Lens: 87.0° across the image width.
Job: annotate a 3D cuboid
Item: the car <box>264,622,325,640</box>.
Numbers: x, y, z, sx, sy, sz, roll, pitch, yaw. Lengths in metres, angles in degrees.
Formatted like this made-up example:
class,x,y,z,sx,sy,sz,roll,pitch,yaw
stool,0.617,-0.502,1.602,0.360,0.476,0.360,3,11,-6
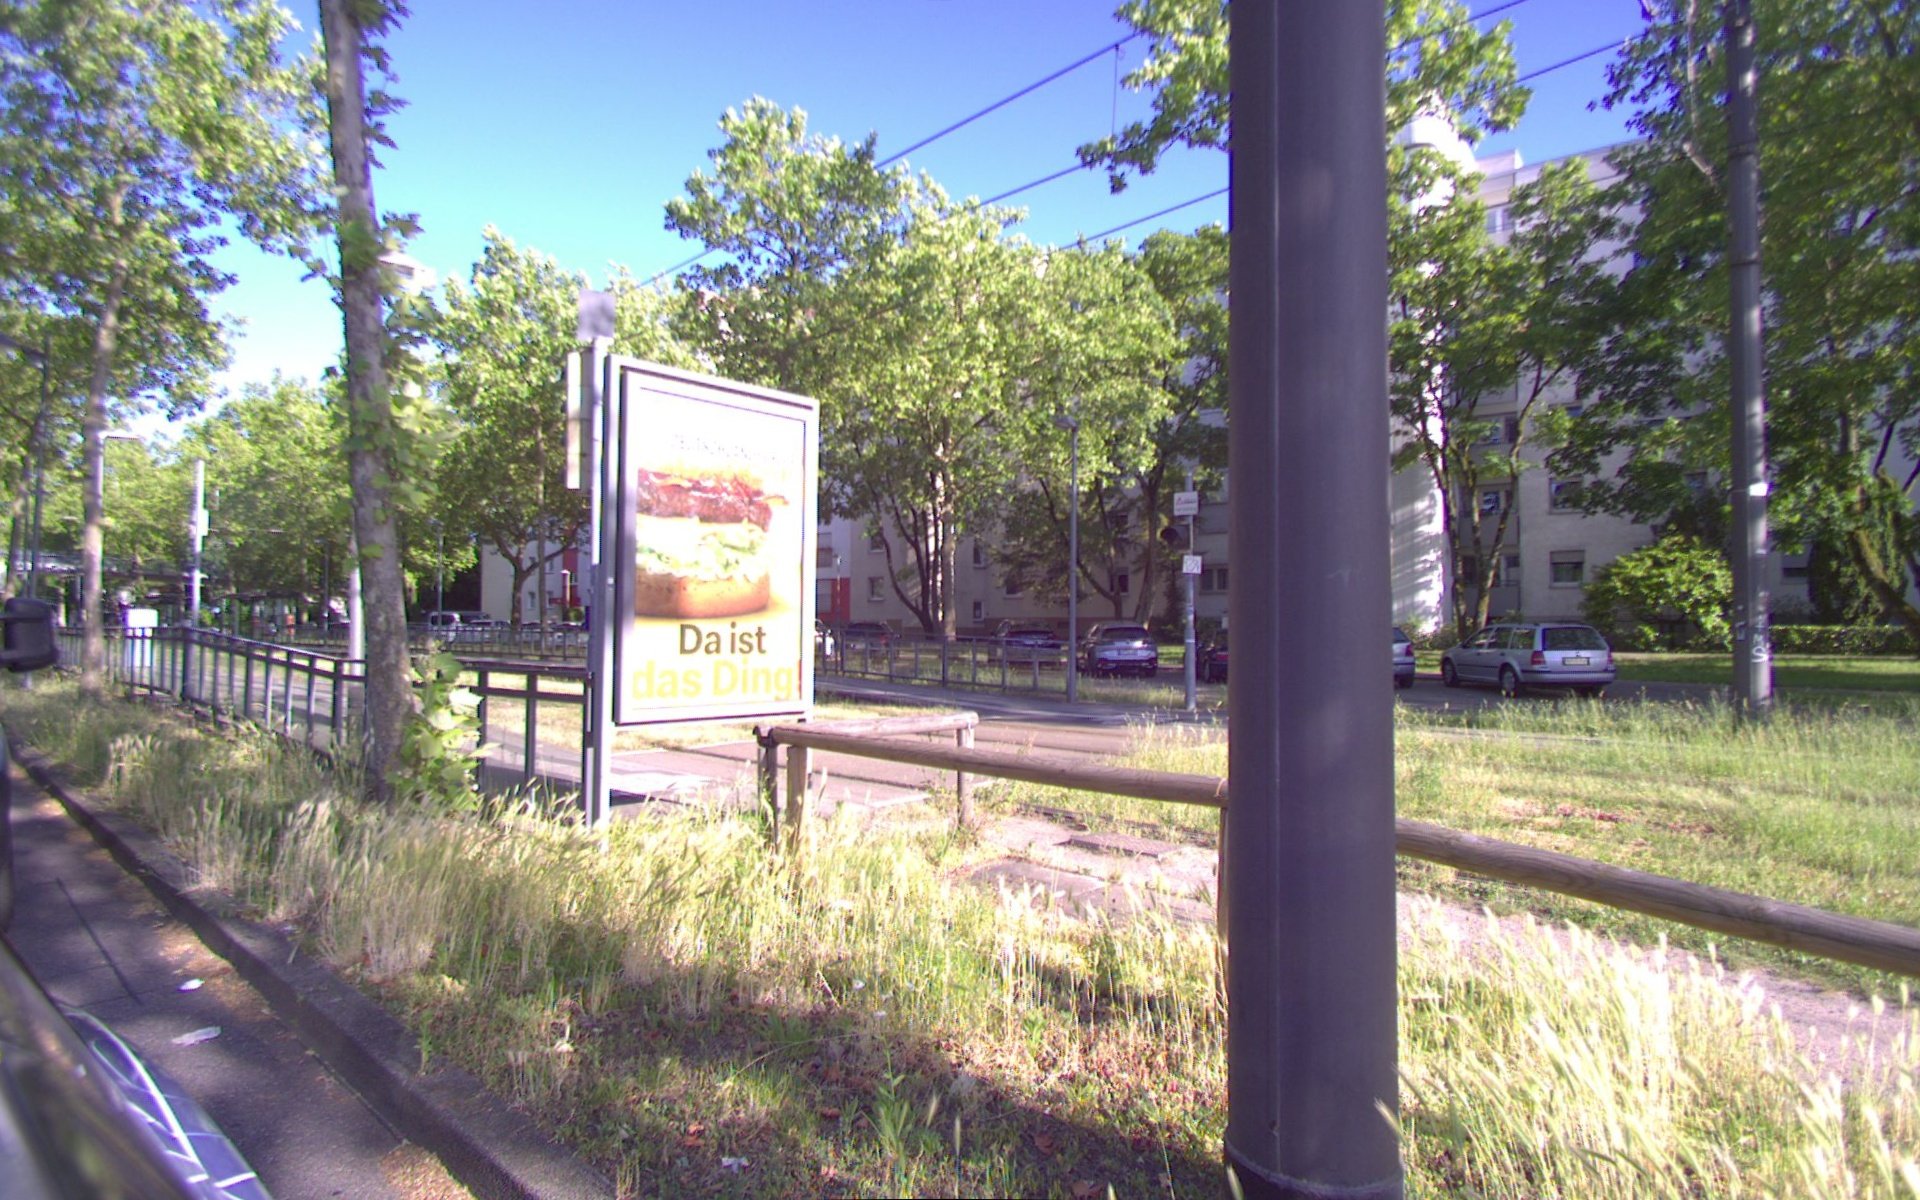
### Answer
class,x,y,z,sx,sy,sz,roll,pitch,yaw
car,-52.135,2.404,79.350,1.898,1.386,4.365,0,-1,1

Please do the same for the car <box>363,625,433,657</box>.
class,x,y,z,sx,sy,sz,roll,pitch,yaw
car,-26.473,1.893,47.630,3.757,1.431,1.801,-1,-2,42

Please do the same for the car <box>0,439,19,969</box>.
class,x,y,z,sx,sy,sz,roll,pitch,yaw
car,-6.401,0.450,5.034,5.111,2.131,2.014,-1,-1,41

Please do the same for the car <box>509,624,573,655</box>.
class,x,y,z,sx,sy,sz,roll,pitch,yaw
car,-21.113,1.958,51.120,1.627,1.460,3.680,0,-1,1

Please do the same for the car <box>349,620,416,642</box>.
class,x,y,z,sx,sy,sz,roll,pitch,yaw
car,-37.899,2.036,66.531,1.898,1.386,4.365,0,-1,1

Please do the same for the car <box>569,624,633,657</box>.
class,x,y,z,sx,sy,sz,roll,pitch,yaw
car,-16.671,1.841,47.122,1.627,1.460,3.680,0,-1,1

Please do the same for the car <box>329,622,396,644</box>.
class,x,y,z,sx,sy,sz,roll,pitch,yaw
car,-40.272,2.204,68.377,1.898,1.386,4.365,0,-1,1

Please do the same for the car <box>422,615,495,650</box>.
class,x,y,z,sx,sy,sz,roll,pitch,yaw
car,-28.316,1.825,57.314,1.898,1.898,4.365,0,-1,1

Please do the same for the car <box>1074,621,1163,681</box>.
class,x,y,z,sx,sy,sz,roll,pitch,yaw
car,4.218,1.344,27.479,1.894,1.507,3.680,0,-1,2

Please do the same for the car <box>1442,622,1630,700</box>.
class,x,y,z,sx,sy,sz,roll,pitch,yaw
car,11.559,1.174,20.615,1.707,1.444,3.681,0,-1,1

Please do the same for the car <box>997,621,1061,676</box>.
class,x,y,z,sx,sy,sz,roll,pitch,yaw
car,1.945,1.366,29.433,1.664,1.482,3.680,0,-1,1

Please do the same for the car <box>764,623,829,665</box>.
class,x,y,z,sx,sy,sz,roll,pitch,yaw
car,-5.898,1.570,36.904,1.664,1.444,3.679,0,-1,2

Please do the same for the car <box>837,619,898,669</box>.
class,x,y,z,sx,sy,sz,roll,pitch,yaw
car,-3.096,1.456,34.454,1.664,1.579,3.679,0,-1,2

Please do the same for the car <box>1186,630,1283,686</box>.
class,x,y,z,sx,sy,sz,roll,pitch,yaw
car,6.741,1.398,25.193,1.602,1.256,3.677,0,-1,4

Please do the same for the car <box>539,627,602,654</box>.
class,x,y,z,sx,sy,sz,roll,pitch,yaw
car,-19.035,1.979,49.652,1.627,1.251,3.680,0,-1,1

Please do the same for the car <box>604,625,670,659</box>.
class,x,y,z,sx,sy,sz,roll,pitch,yaw
car,-14.072,1.818,44.267,1.627,1.403,3.679,0,-1,2

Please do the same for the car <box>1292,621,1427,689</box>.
class,x,y,z,sx,sy,sz,roll,pitch,yaw
car,9.164,1.217,23.514,1.679,1.444,3.681,0,-1,1

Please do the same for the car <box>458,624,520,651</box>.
class,x,y,z,sx,sy,sz,roll,pitch,yaw
car,-25.787,2.034,55.505,1.627,1.407,3.680,0,-1,1

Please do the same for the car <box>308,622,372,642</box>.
class,x,y,z,sx,sy,sz,roll,pitch,yaw
car,-44.634,2.281,72.970,1.898,1.386,4.365,0,-1,1
